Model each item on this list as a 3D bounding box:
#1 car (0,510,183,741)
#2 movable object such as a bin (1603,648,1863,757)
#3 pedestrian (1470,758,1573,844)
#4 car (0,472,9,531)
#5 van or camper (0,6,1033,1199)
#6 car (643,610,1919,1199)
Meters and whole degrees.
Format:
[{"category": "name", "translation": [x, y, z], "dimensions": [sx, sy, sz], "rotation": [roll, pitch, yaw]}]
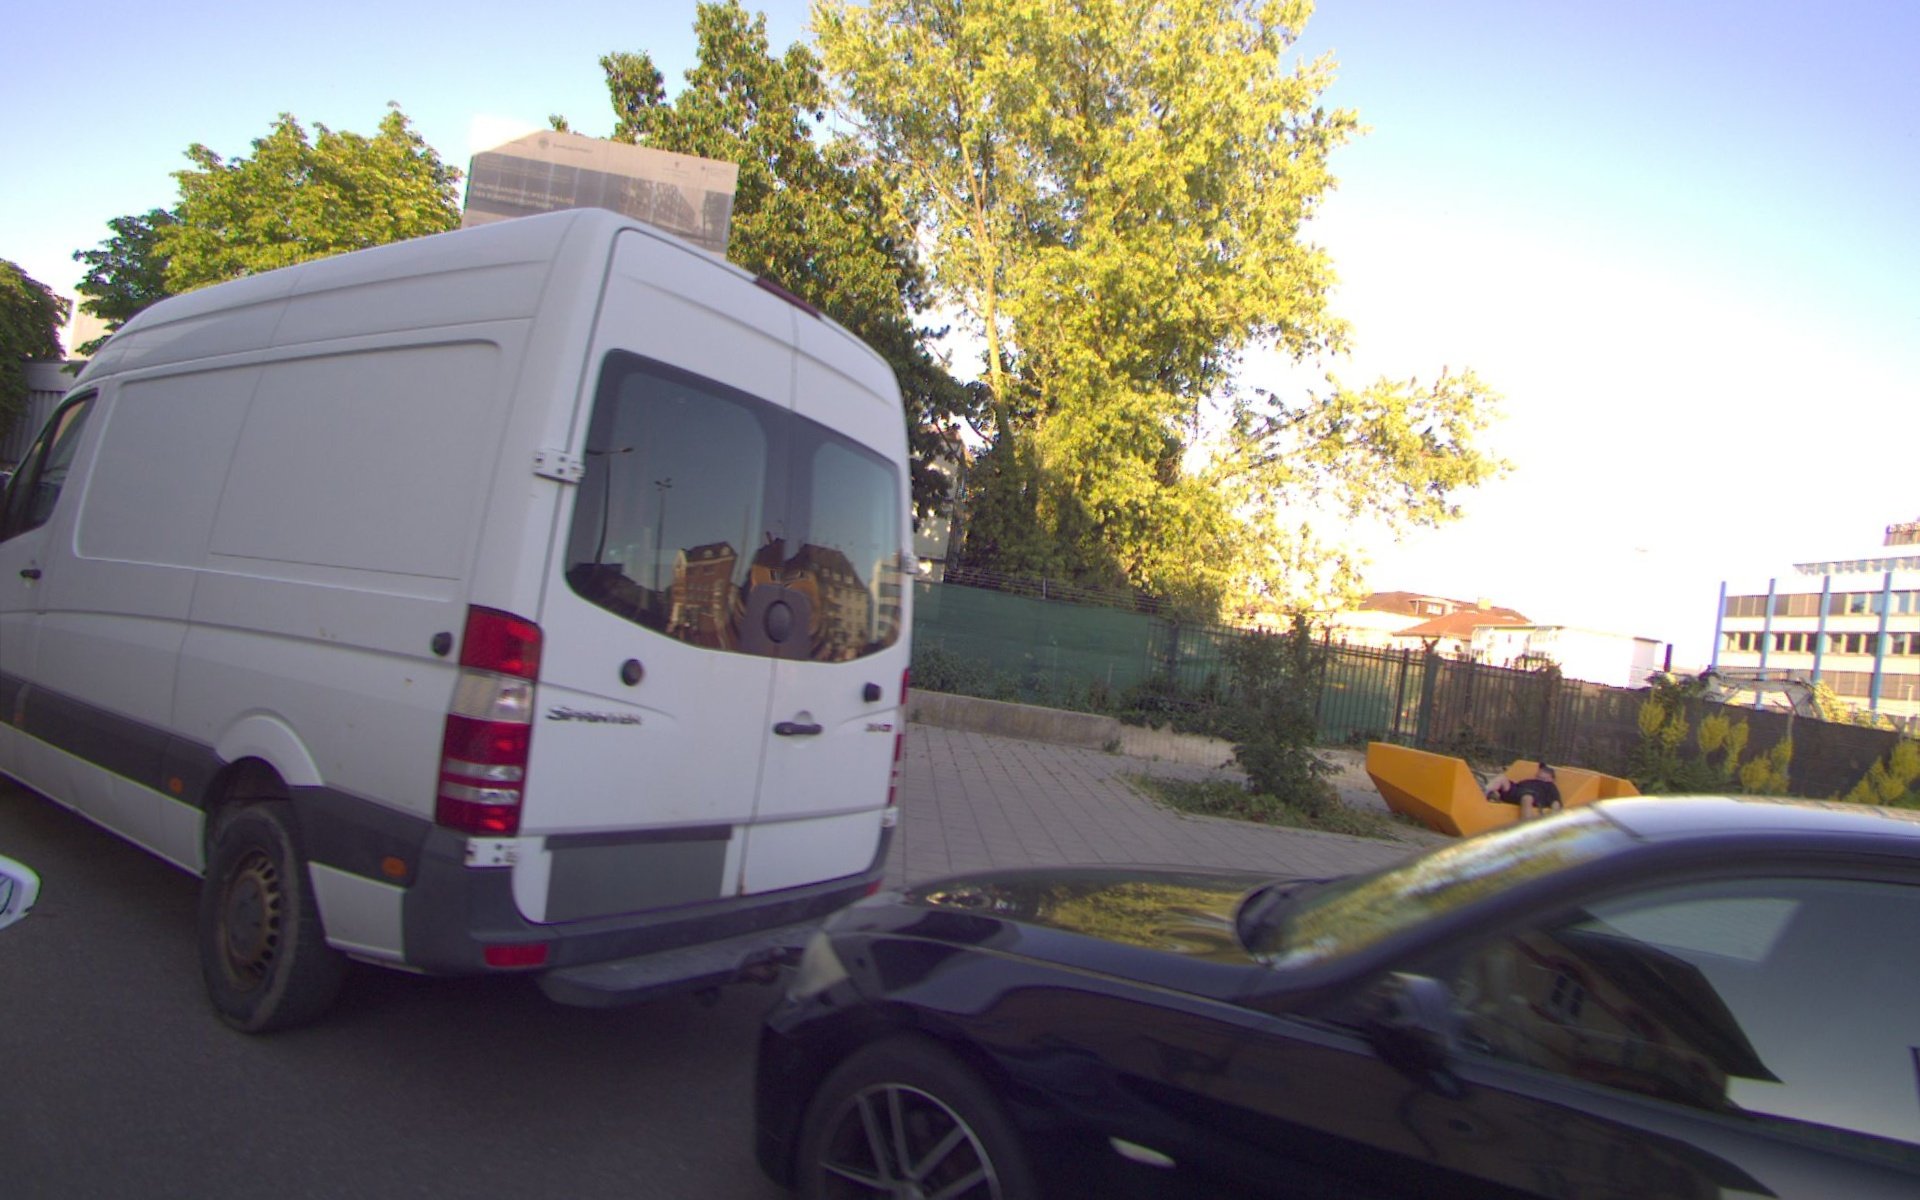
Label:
[{"category": "car", "translation": [-7.810, -0.013, 7.588], "dimensions": [4.032, 1.476, 1.696], "rotation": [7, -3, 33]}, {"category": "movable object such as a bin", "translation": [20.193, 2.654, 26.600], "dimensions": [4.934, 2.037, 2.001], "rotation": [7, -2, 24]}, {"category": "pedestrian", "translation": [7.004, 2.504, 12.552], "dimensions": [0.969, 0.903, 0.559], "rotation": [9, -2, -22]}, {"category": "car", "translation": [-11.505, -0.600, 10.141], "dimensions": [3.956, 1.869, 1.716], "rotation": [7, -3, 33]}, {"category": "van or camper", "translation": [-3.067, -0.151, 4.935], "dimensions": [6.345, 2.806, 2.081], "rotation": [6, -2, 33]}, {"category": "car", "translation": [1.630, 1.057, 2.008], "dimensions": [4.399, 1.445, 1.733], "rotation": [7, -3, 32]}]
